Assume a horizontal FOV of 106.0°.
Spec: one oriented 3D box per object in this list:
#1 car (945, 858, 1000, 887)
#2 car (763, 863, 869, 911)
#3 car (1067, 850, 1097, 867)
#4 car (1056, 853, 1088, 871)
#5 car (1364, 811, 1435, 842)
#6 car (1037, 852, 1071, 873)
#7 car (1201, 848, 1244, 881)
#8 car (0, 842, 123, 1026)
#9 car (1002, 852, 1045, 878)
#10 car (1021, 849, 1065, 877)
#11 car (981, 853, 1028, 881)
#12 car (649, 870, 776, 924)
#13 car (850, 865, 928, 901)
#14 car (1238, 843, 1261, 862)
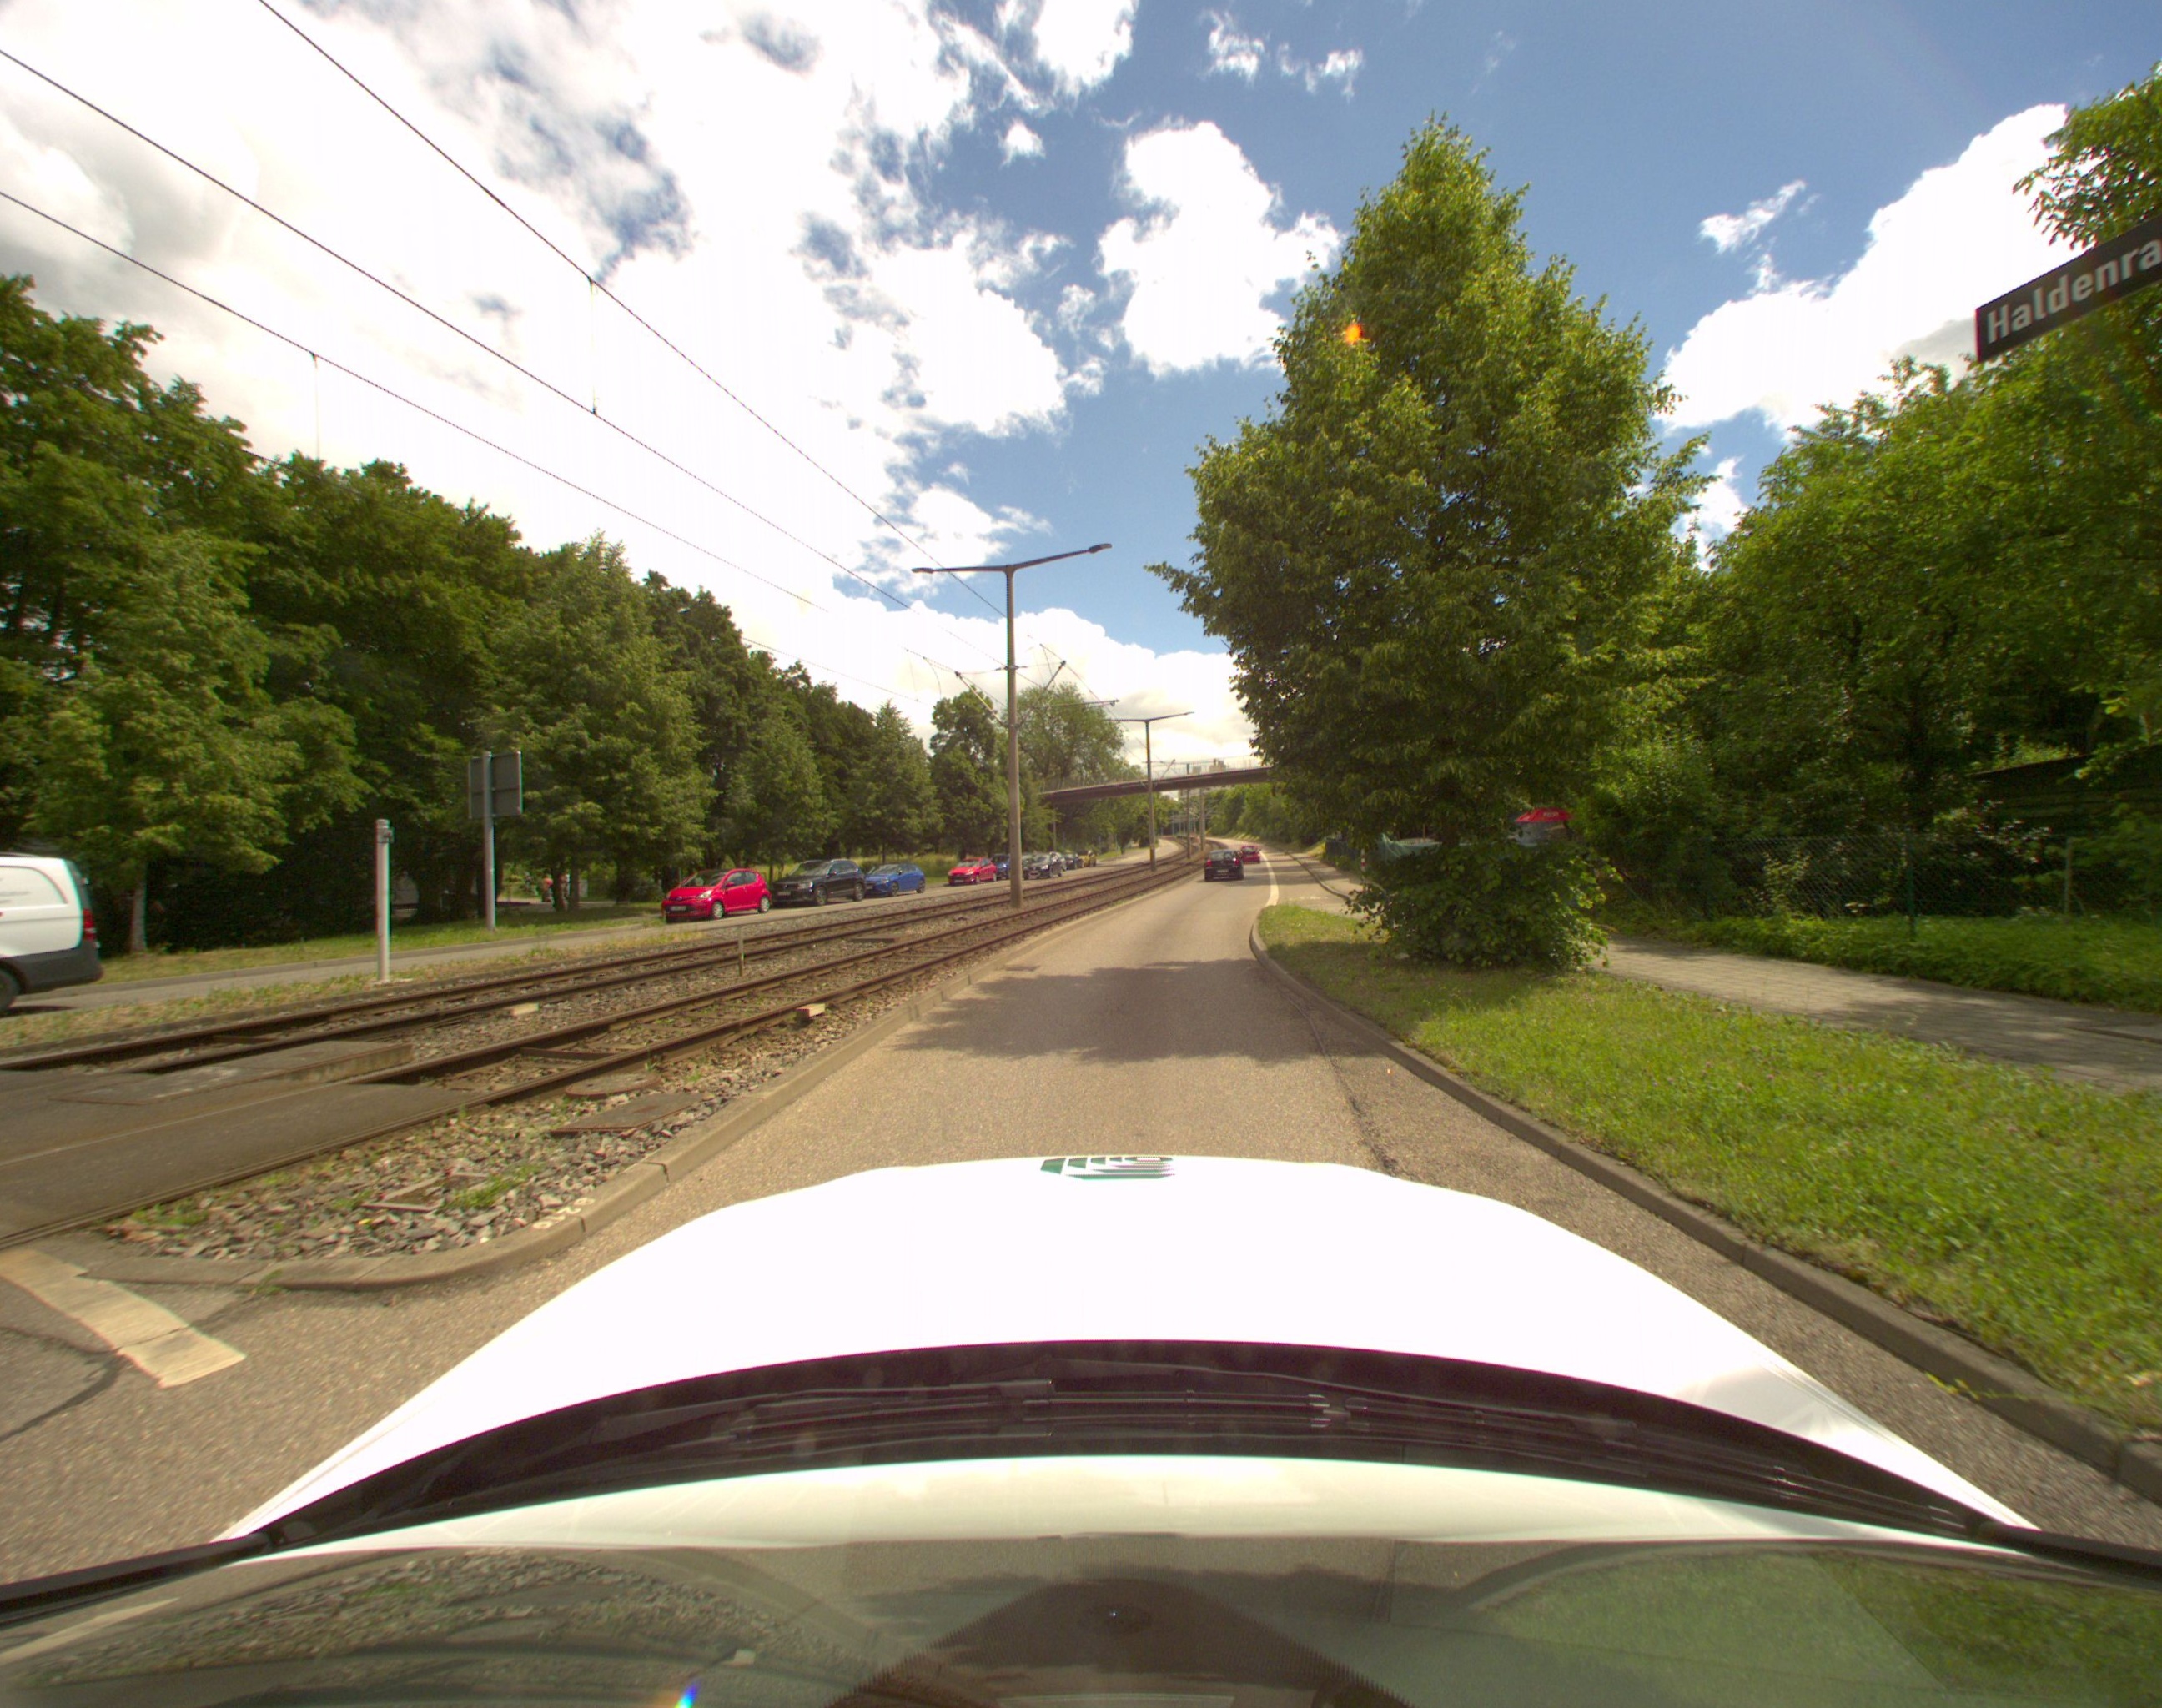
[{"bbox_3d":[-5.910,1.004,44.927,1.601,1.494,4.062,0,-1,14],"label":"car"},{"bbox_3d":[-9.554,1.154,29.721,1.569,1.605,4.391,0,-1,14],"label":"car"},{"bbox_3d":[0.139,0.387,70.888,1.677,1.450,3.913,0,-1,14],"label":"car"},{"bbox_3d":[-0.679,0.645,66.067,1.500,1.360,4.144,-2,0,14],"label":"car"},{"bbox_3d":[23.185,-1.970,59.495,4.490,1.671,2.008,-6,-3,15],"label":"car"},{"bbox_3d":[-1.990,0.618,60.746,1.582,1.494,4.206,0,0,12],"label":"car"},{"bbox_3d":[6.644,0.441,38.062,1.696,1.460,3.975,0,0,14],"label":"car"},{"bbox_3d":[-13.445,0.863,7.746,1.858,2.019,5.264,-1,-1,24],"label":"car"},{"bbox_3d":[-3.855,0.717,55.340,1.630,1.622,4.141,-2,0,14],"label":"car"},{"bbox_3d":[-2.210,0.524,48.343,1.602,1.574,4.014,0,-1,13],"label":"car"},{"bbox_3d":[-4.638,0.799,49.955,1.546,1.596,4.175,0,-1,14],"label":"car"},{"bbox_3d":[-10.932,1.228,24.436,1.602,1.452,3.673,0,-1,12],"label":"car"},{"bbox_3d":[-8.160,1.206,34.988,1.601,1.461,4.022,0,-1,14],"label":"car"},{"bbox_3d":[12.933,-0.093,62.482,1.613,1.443,3.433,0,-1,13],"label":"car"}]
